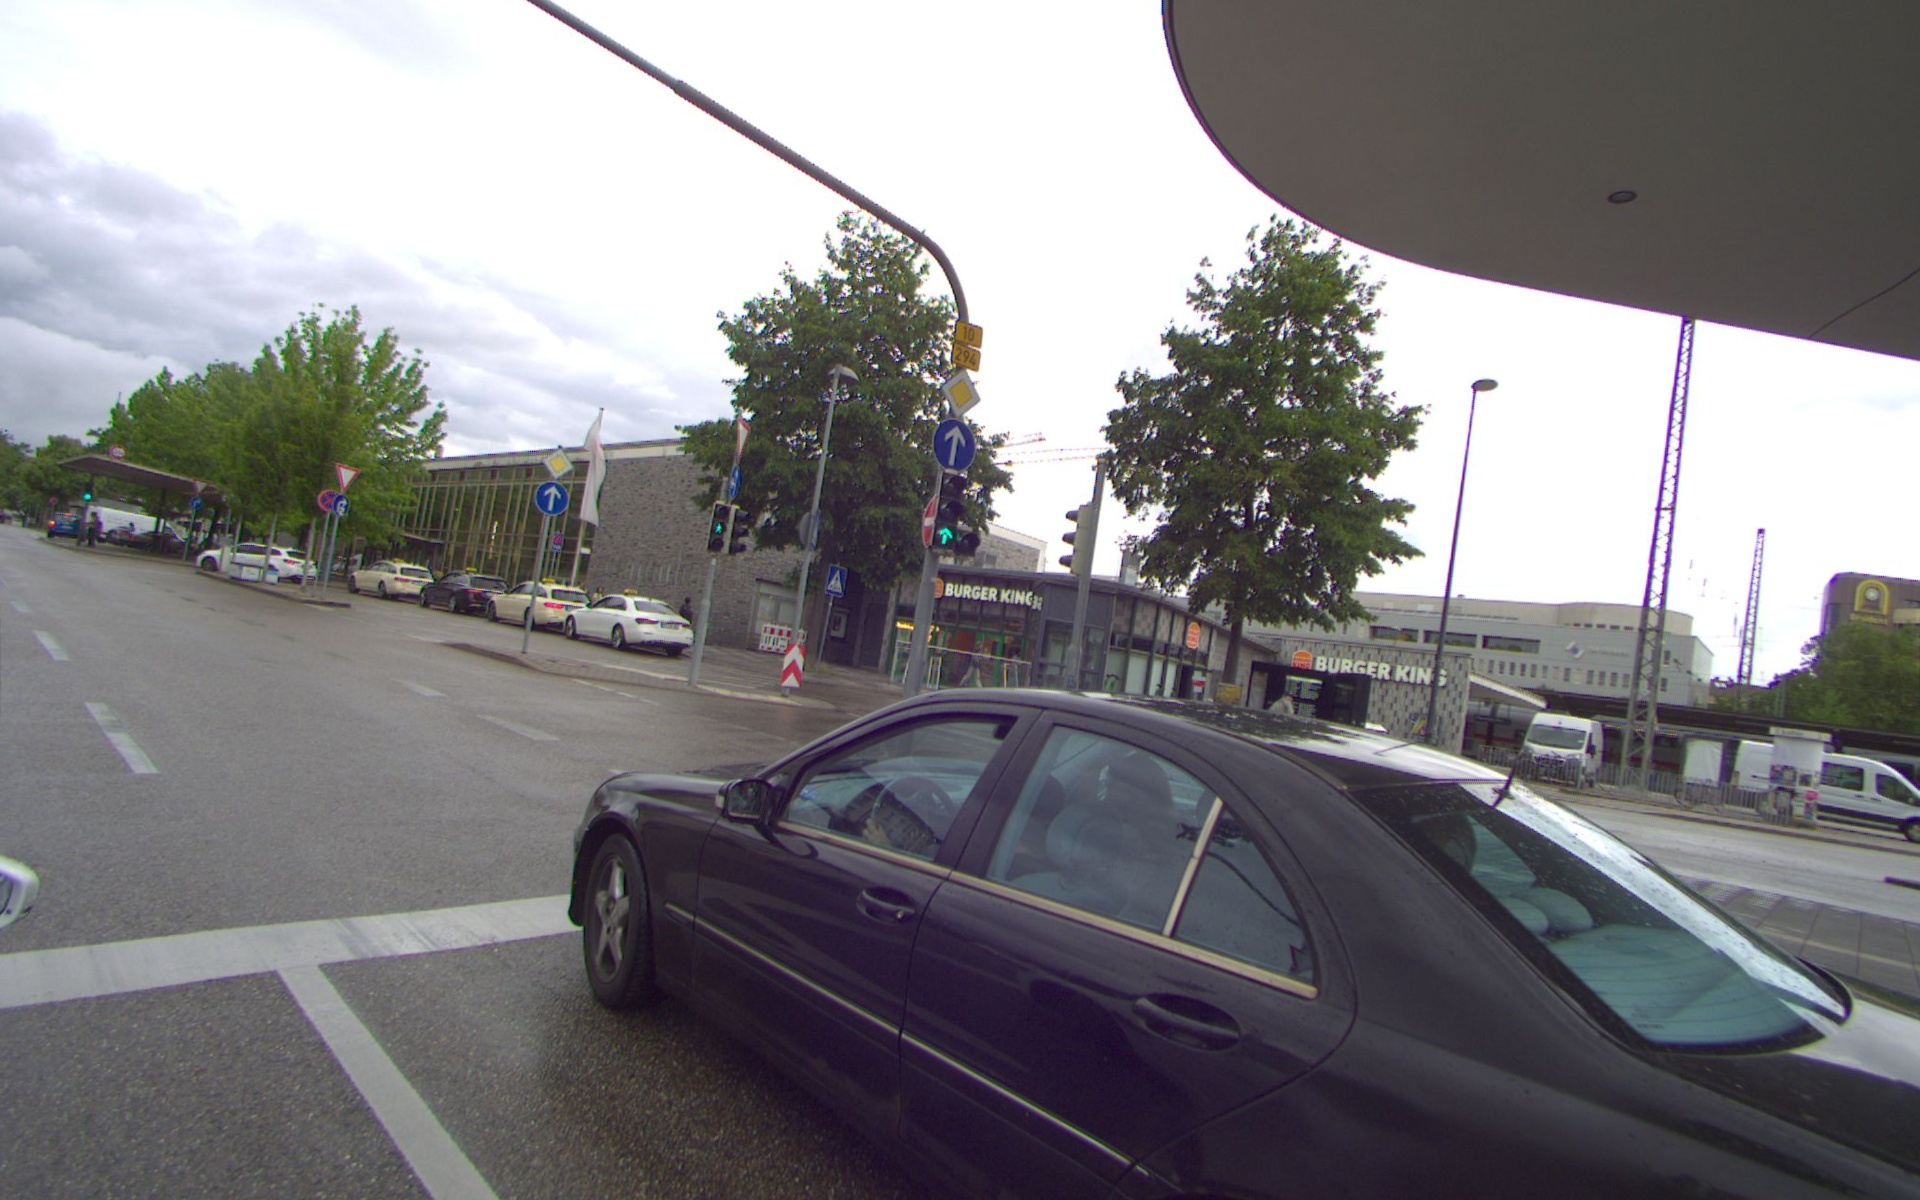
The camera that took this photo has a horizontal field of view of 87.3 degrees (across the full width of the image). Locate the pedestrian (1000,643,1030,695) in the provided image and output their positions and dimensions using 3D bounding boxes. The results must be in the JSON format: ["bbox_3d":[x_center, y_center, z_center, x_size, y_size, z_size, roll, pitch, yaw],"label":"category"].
[{"bbox_3d":[1.918,2.386,34.982,0.710,1.687,0.797,7,-1,-7],"label":"pedestrian"}]

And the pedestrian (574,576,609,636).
[{"bbox_3d":[-14.109,0.240,38.504,0.792,2.189,0.714,8,-1,-42],"label":"pedestrian"}]

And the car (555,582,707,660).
[{"bbox_3d":[-9.228,0.548,27.963,4.840,1.618,1.876,5,-3,45],"label":"car"}]

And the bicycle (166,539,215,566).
[{"bbox_3d":[-38.348,-2.351,50.129,0.415,1.068,1.824,6,-2,44],"label":"bicycle"}]

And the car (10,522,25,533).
[{"bbox_3d":[-164.262,-12.655,175.335,3.603,1.680,1.641,5,-2,45],"label":"car"}]

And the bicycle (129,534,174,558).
[{"bbox_3d":[-44.966,-3.000,55.969,0.413,1.068,1.833,6,-2,26],"label":"bicycle"}]

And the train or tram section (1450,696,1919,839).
[{"bbox_3d":[43.583,9.428,56.241,28.930,4.230,4.583,5,-3,44],"label":"train or tram section"}]

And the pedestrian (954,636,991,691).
[{"bbox_3d":[0.407,2.103,33.386,0.716,1.687,0.790,7,-1,-36],"label":"pedestrian"}]

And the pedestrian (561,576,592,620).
[{"bbox_3d":[-15.223,-0.080,39.918,0.700,1.598,0.768,6,-1,40],"label":"pedestrian"}]

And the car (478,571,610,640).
[{"bbox_3d":[-13.254,0.139,31.895,4.894,1.618,1.990,6,-2,45],"label":"car"}]

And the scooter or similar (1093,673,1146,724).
[{"bbox_3d":[4.369,2.688,27.524,1.279,1.196,0.334,7,-1,11],"label":"scooter or similar"}]

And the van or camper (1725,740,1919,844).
[{"bbox_3d":[29.175,6.335,33.311,5.789,2.461,1.990,5,-2,44],"label":"van or camper"}]

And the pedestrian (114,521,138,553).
[{"bbox_3d":[-52.997,-3.992,63.918,1.175,1.856,0.855,5,-3,44],"label":"pedestrian"}]

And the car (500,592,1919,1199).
[{"bbox_3d":[0.290,0.925,3.122,1.690,1.482,4.398,9,-3,-43],"label":"car"}]

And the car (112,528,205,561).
[{"bbox_3d":[-51.140,-3.507,64.254,1.807,1.339,4.202,6,-4,24],"label":"car"}]

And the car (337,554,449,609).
[{"bbox_3d":[-22.759,-0.747,40.322,4.882,1.618,1.995,6,-2,37],"label":"car"}]

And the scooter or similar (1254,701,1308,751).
[{"bbox_3d":[8.904,3.482,27.939,1.279,1.196,0.334,7,-1,11],"label":"scooter or similar"}]

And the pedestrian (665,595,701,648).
[{"bbox_3d":[-9.081,0.708,33.033,0.783,1.645,0.723,7,-1,0],"label":"pedestrian"}]

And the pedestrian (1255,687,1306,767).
[{"bbox_3d":[6.783,2.681,21.342,0.824,1.547,0.638,7,-1,14],"label":"pedestrian"}]

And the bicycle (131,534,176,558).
[{"bbox_3d":[-44.606,-2.964,55.676,0.413,1.068,1.833,6,-2,26],"label":"bicycle"}]

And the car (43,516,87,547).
[{"bbox_3d":[-56.292,-4.301,63.274,1.854,1.586,3.954,10,-4,-42],"label":"car"}]

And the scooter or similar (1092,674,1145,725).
[{"bbox_3d":[4.247,2.648,26.935,1.279,1.196,0.334,7,-1,11],"label":"scooter or similar"}]

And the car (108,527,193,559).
[{"bbox_3d":[-53.694,-3.728,66.809,1.829,1.374,4.008,7,-3,14],"label":"car"}]

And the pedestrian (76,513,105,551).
[{"bbox_3d":[-43.493,-3.399,50.320,0.823,1.766,0.747,6,-2,36],"label":"pedestrian"}]

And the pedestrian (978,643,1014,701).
[{"bbox_3d":[1.122,2.231,31.208,0.763,1.689,0.645,7,2,22],"label":"pedestrian"}]

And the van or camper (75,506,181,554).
[{"bbox_3d":[-65.063,-5.409,78.789,2.157,2.794,5.972,6,-2,17],"label":"van or camper"}]

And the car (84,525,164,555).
[{"bbox_3d":[-61.446,-4.410,74.019,1.829,1.458,4.007,7,-3,18],"label":"car"}]

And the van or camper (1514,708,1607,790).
[{"bbox_3d":[21.967,5.374,36.675,2.133,2.461,5.847,6,-2,37],"label":"van or camper"}]

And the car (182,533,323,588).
[{"bbox_3d":[-29.756,-1.636,42.388,4.686,1.563,1.766,7,-3,5],"label":"car"}]

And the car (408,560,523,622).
[{"bbox_3d":[-17.907,-0.350,36.326,4.892,1.617,1.992,6,-4,43],"label":"car"}]
